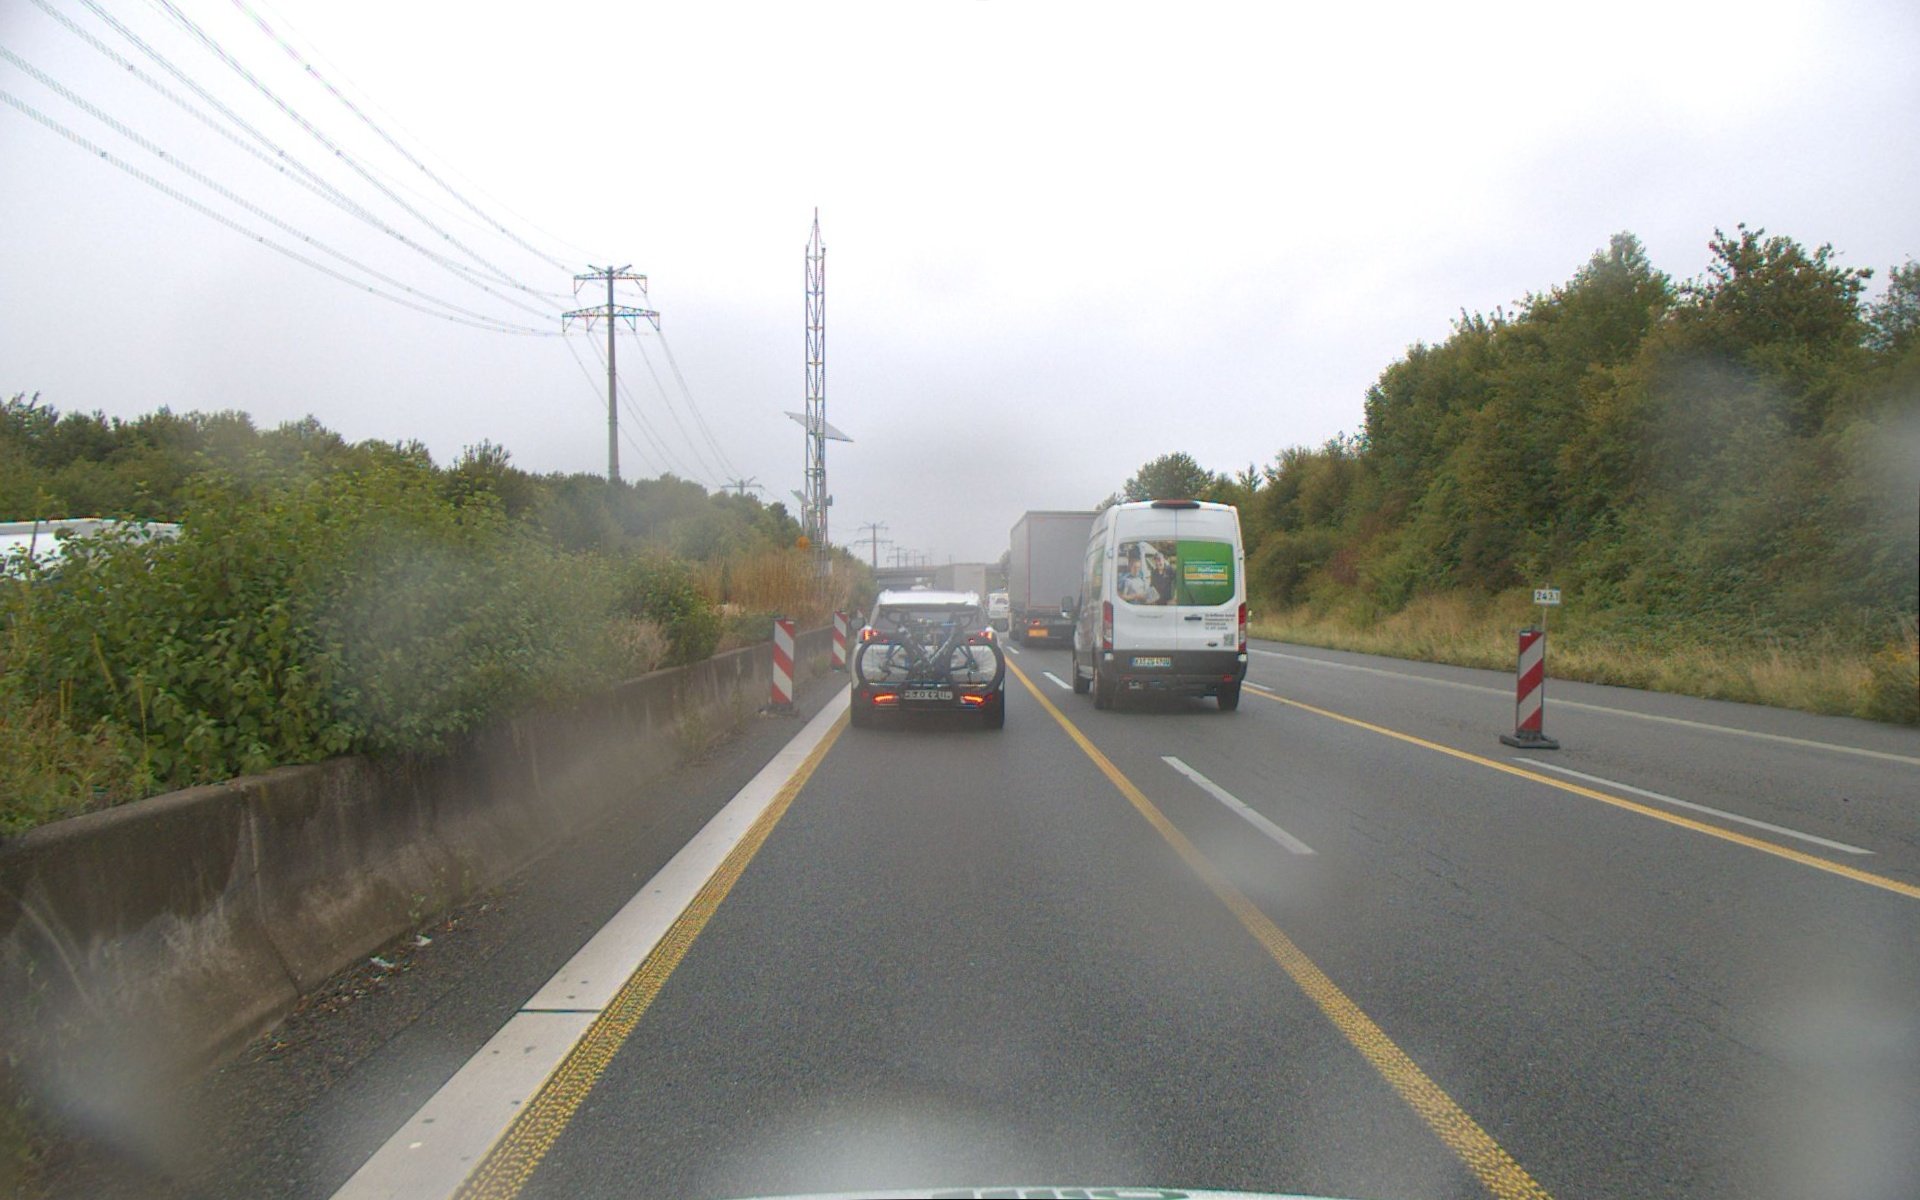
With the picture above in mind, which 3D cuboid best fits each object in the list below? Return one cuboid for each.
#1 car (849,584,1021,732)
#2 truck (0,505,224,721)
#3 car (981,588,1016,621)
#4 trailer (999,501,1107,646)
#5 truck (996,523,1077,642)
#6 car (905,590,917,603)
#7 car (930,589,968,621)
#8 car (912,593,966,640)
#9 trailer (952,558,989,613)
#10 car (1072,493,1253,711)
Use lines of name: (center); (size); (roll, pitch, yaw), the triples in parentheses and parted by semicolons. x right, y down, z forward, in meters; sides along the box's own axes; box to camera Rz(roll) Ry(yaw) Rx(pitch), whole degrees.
car: (-0.305, 0.611, 19.895); (1.812, 1.557, 4.767); (0, 0, -1)
truck: (-15.541, 0.256, 28.785); (2.215, 3.284, 7.051); (-3, 0, -1)
car: (2.198, 0.258, 95.132); (1.792, 1.871, 4.654); (0, 0, -1)
trailer: (2.883, -0.774, 55.087); (2.651, 4.218, 13.729); (0, 0, -1)
truck: (2.802, -0.628, 61.833); (2.651, 4.211, 5.689); (0, 0, -1)
car: (-7.567, -0.523, 255.519); (1.892, 2.008, 4.000); (0, 1, -1)
car: (-0.576, 0.238, 80.851); (1.812, 1.557, 3.999); (0, 0, -1)
car: (-0.729, 0.555, 57.391); (1.812, 1.557, 3.999); (0, 0, -1)
trailer: (0.765, -1.077, 131.917); (2.638, 4.148, 13.630); (0, 0, -1)
car: (2.833, 0.015, 24.416); (1.953, 2.831, 5.756); (0, 0, 0)
